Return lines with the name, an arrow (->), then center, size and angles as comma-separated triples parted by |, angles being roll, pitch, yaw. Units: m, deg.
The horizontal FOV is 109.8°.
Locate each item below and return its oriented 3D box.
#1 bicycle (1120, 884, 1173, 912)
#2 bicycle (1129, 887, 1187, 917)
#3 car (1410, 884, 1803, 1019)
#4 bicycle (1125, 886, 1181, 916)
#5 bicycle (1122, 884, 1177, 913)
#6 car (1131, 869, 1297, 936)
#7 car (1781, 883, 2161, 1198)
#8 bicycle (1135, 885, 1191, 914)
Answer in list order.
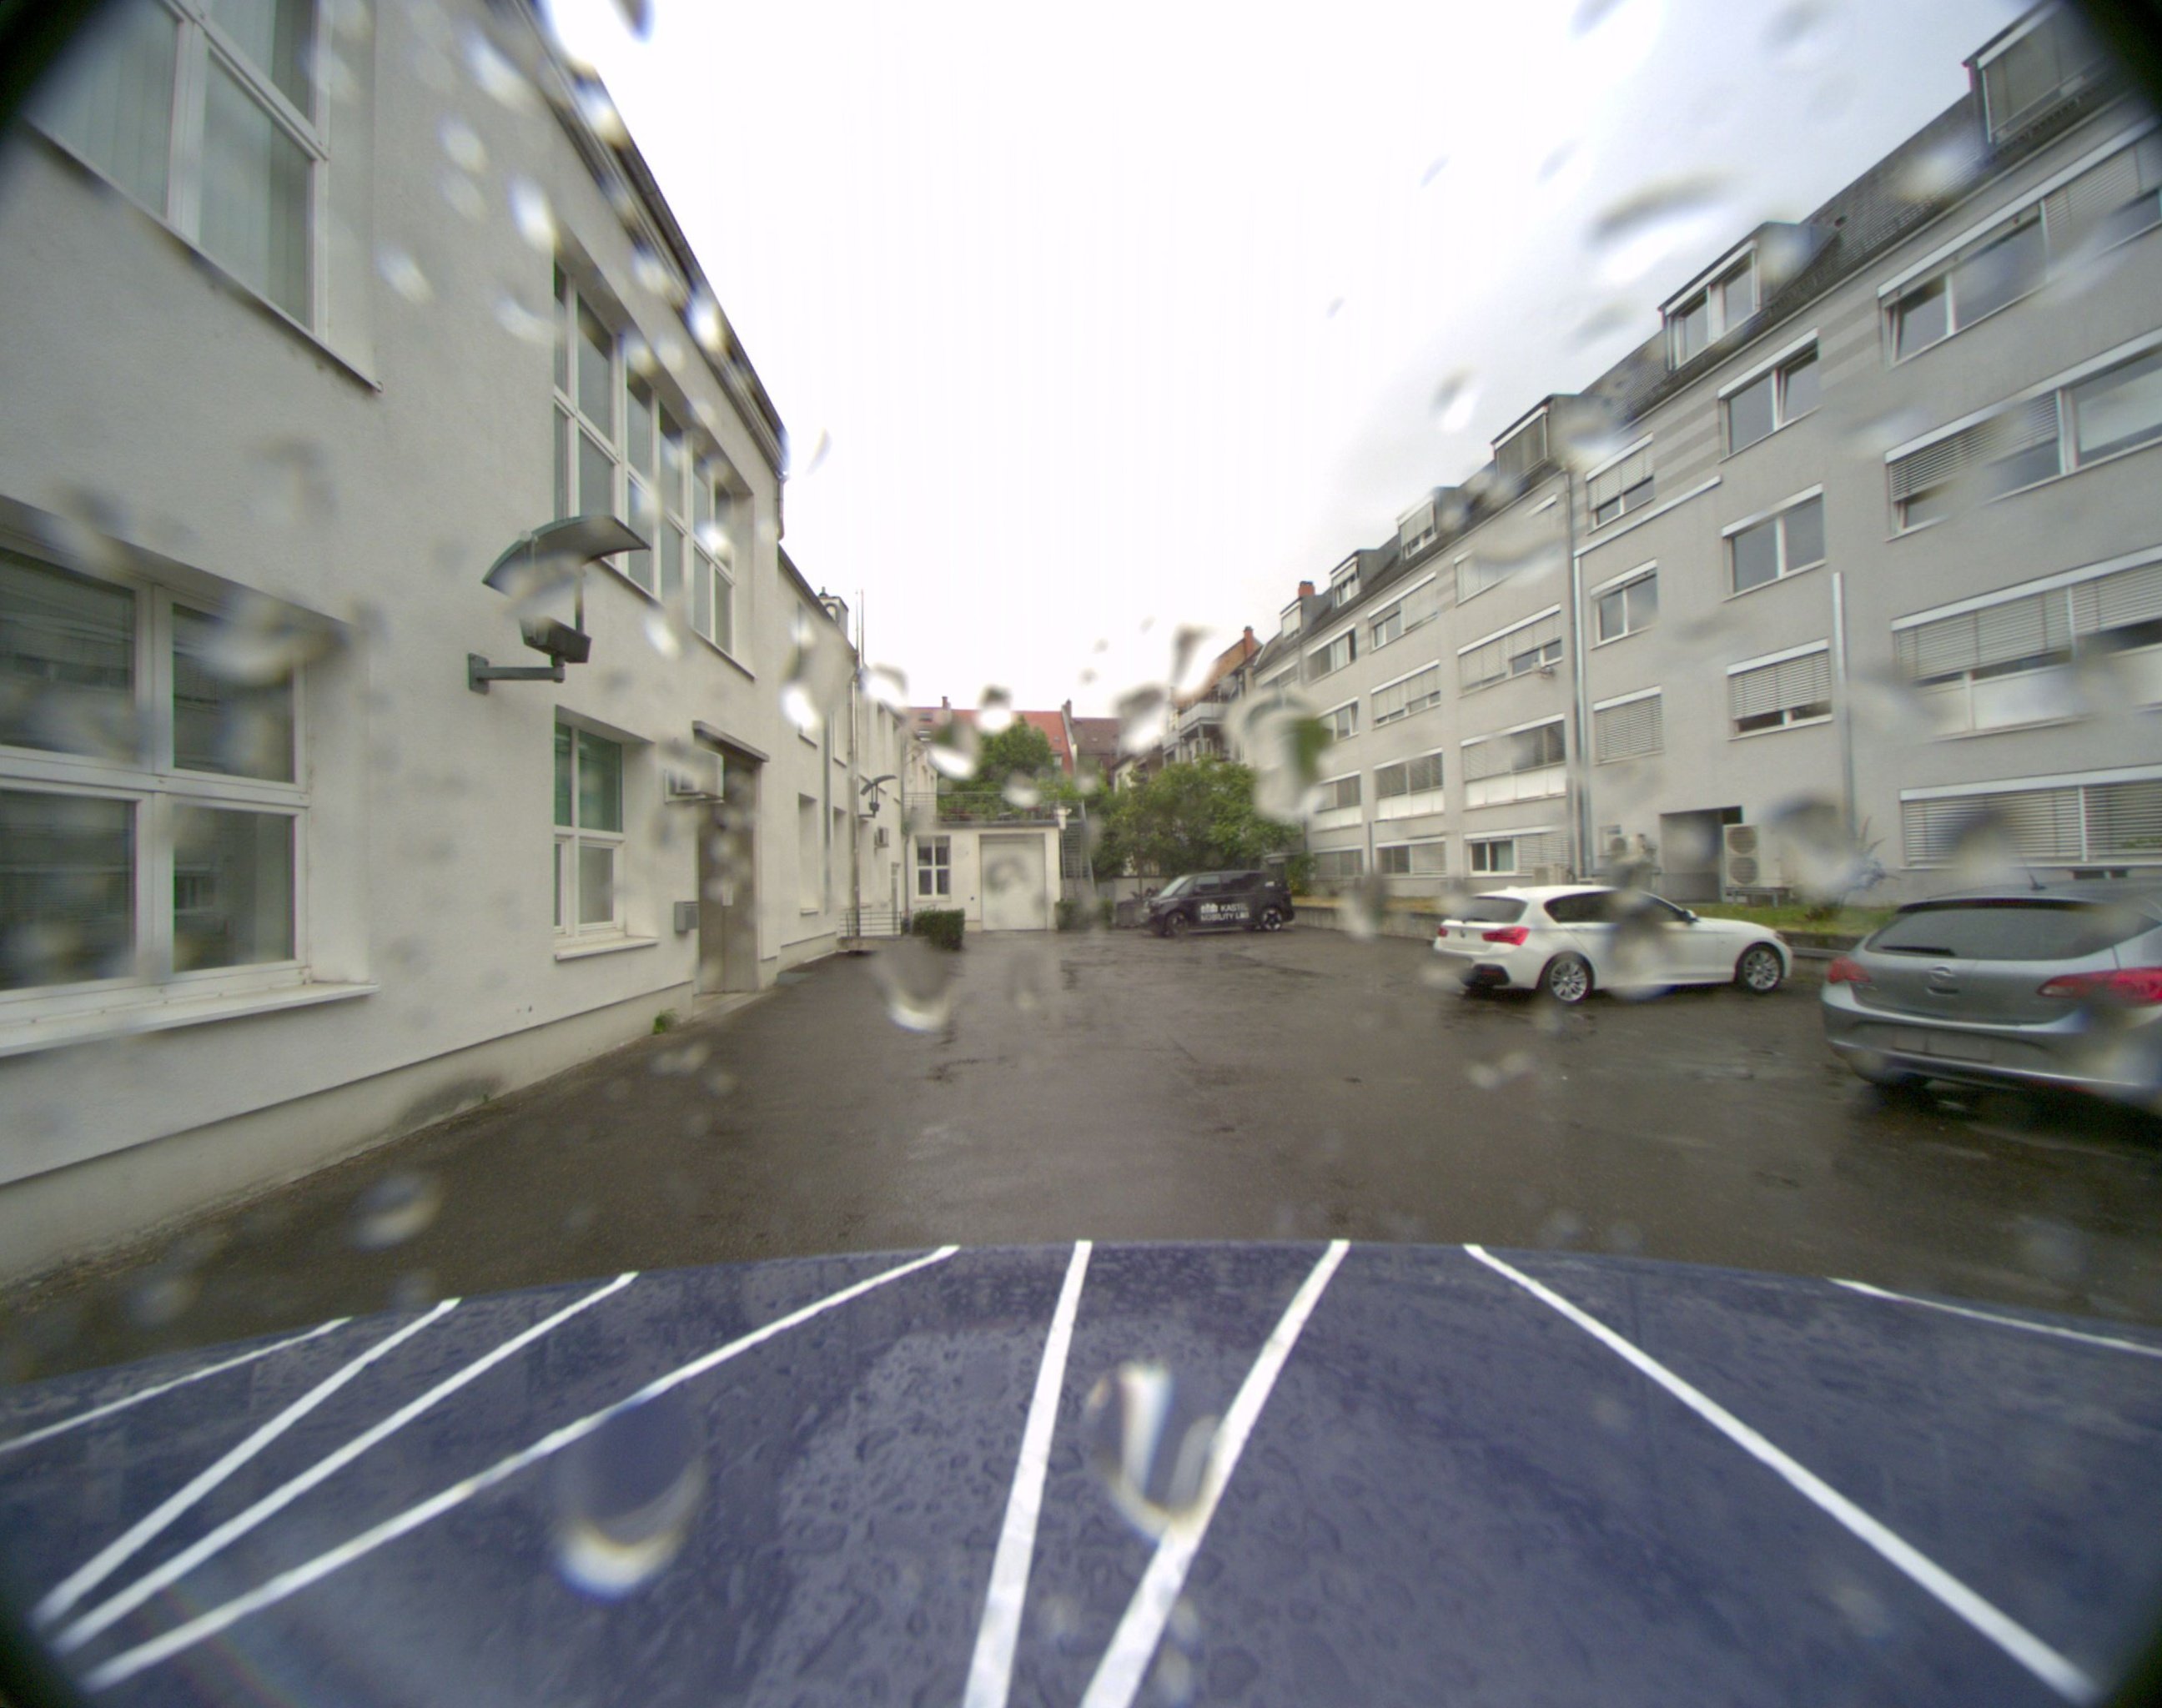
bicycle -> 2.961, 1.999, 34.584 | 2.320, 1.179, 0.643 | -2, 1, -4
bicycle -> 3.236, 2.012, 31.999 | 2.320, 1.179, 0.643 | -2, 1, -4
car -> 6.756, 1.170, 9.979 | 4.153, 1.425, 1.752 | -1, -1, -9
bicycle -> 3.100, 2.010, 32.789 | 2.320, 1.179, 0.643 | -2, 1, -4
bicycle -> 3.054, 2.002, 33.957 | 2.320, 1.179, 0.643 | -2, 1, -4
car -> 4.080, 1.487, 23.634 | 4.632, 1.825, 1.987 | -2, -3, -11
car -> 7.275, 0.958, 4.886 | 4.179, 1.474, 1.821 | -1, -2, -9
bicycle -> 3.604, 1.990, 33.490 | 2.320, 1.179, 0.643 | -2, 1, -4
